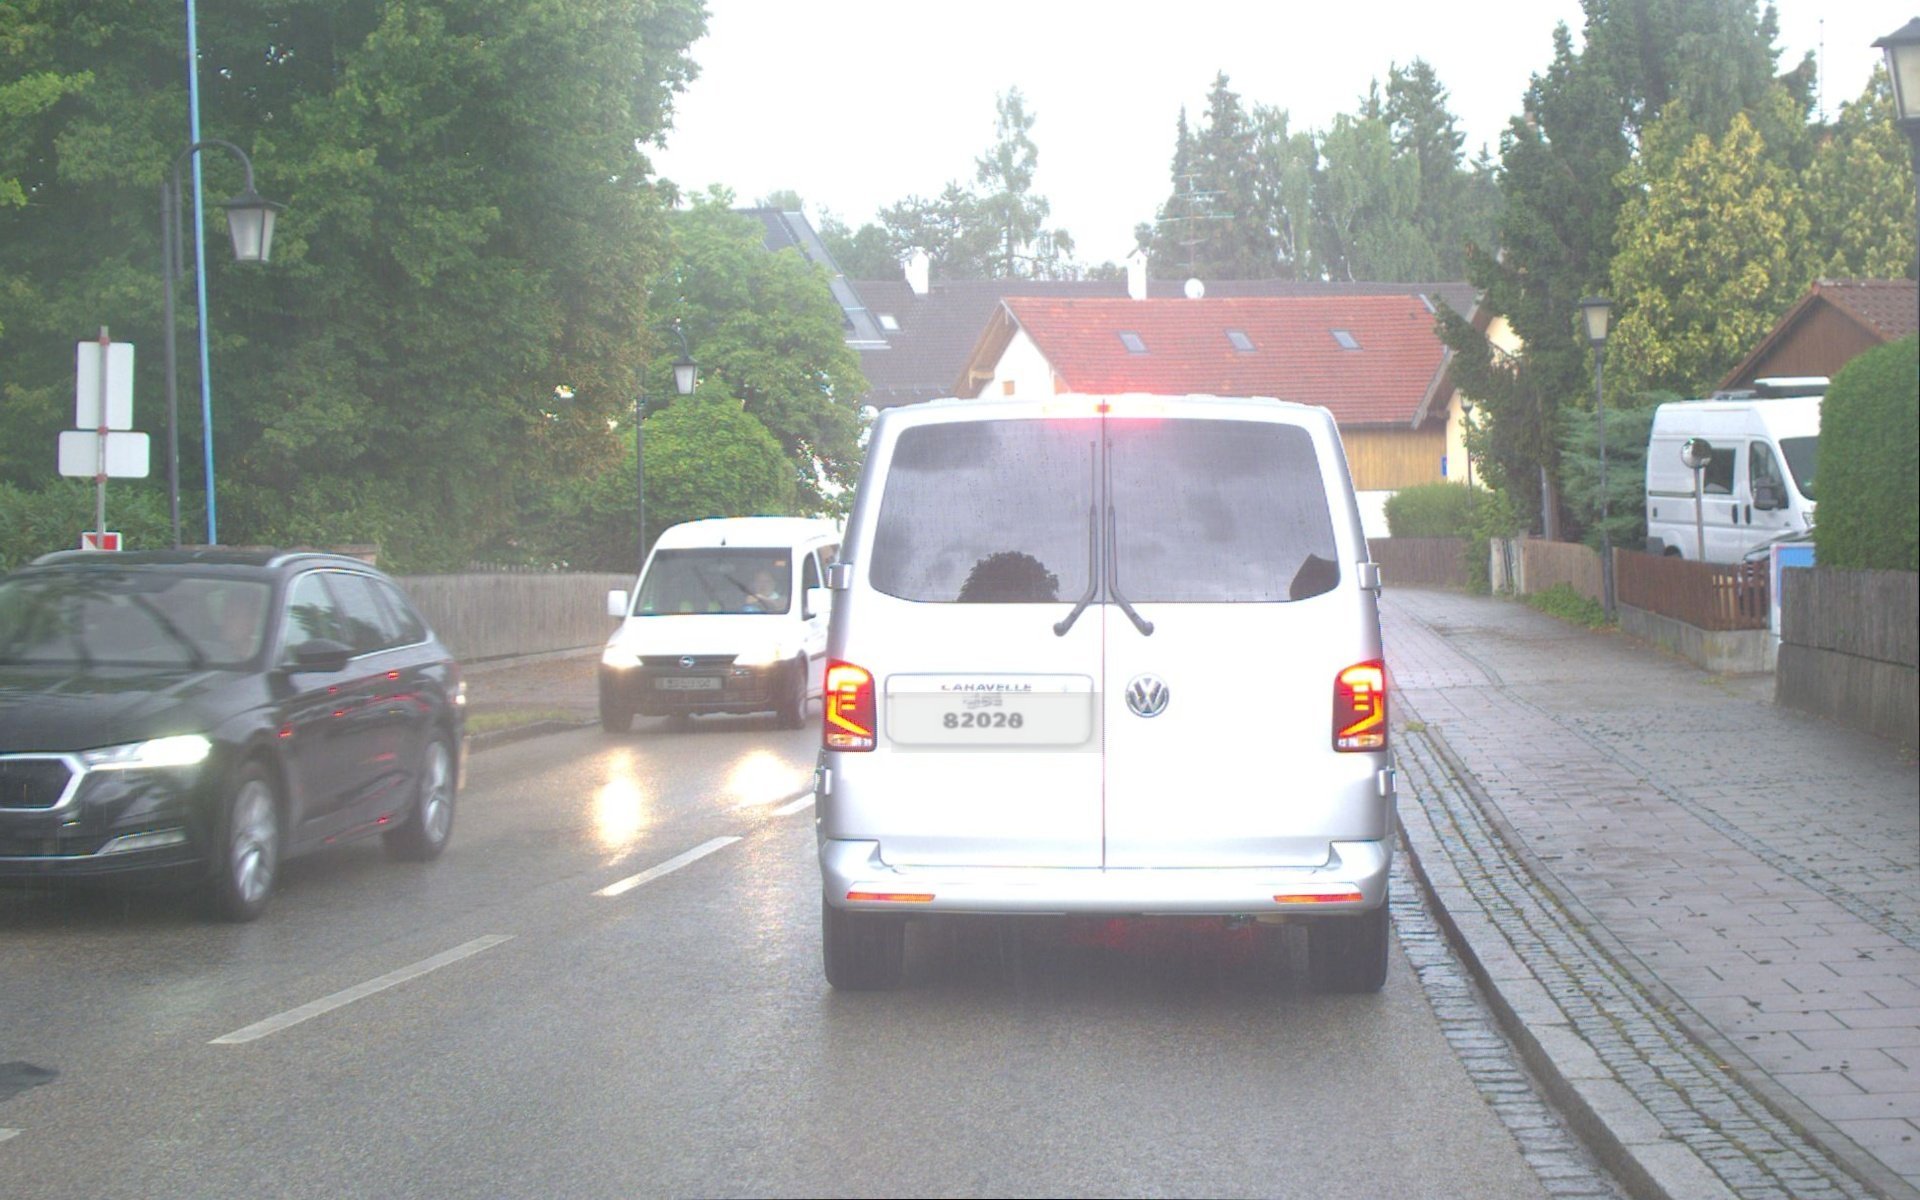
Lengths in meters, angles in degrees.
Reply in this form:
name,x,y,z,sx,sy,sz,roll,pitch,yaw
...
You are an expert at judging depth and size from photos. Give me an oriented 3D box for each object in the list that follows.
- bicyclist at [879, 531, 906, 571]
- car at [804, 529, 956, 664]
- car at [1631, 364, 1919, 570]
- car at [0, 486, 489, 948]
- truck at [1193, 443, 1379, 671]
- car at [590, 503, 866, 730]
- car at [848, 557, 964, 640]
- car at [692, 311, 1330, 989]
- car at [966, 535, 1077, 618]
name,x,y,z,sx,sy,sz,roll,pitch,yaw
bicyclist,-1.741,-1.258,88.752,0.587,1.018,1.060,0,1,5
car,-1.061,-0.055,47.489,1.640,1.759,4.330,1,0,4
car,9.479,-1.438,39.297,1.993,2.166,4.954,1,0,-8
car,-3.443,0.374,14.643,1.784,1.657,4.445,0,1,7
truck,4.686,-0.601,49.912,2.476,3.063,6.295,1,0,5
car,-1.881,0.118,29.156,1.640,1.759,4.330,1,0,5
car,-0.940,-0.036,62.130,1.618,1.439,3.669,0,0,7
car,0.354,0.130,12.293,1.801,2.007,3.999,1,0,8
car,1.117,-0.415,61.143,1.618,1.439,3.669,0,0,7
